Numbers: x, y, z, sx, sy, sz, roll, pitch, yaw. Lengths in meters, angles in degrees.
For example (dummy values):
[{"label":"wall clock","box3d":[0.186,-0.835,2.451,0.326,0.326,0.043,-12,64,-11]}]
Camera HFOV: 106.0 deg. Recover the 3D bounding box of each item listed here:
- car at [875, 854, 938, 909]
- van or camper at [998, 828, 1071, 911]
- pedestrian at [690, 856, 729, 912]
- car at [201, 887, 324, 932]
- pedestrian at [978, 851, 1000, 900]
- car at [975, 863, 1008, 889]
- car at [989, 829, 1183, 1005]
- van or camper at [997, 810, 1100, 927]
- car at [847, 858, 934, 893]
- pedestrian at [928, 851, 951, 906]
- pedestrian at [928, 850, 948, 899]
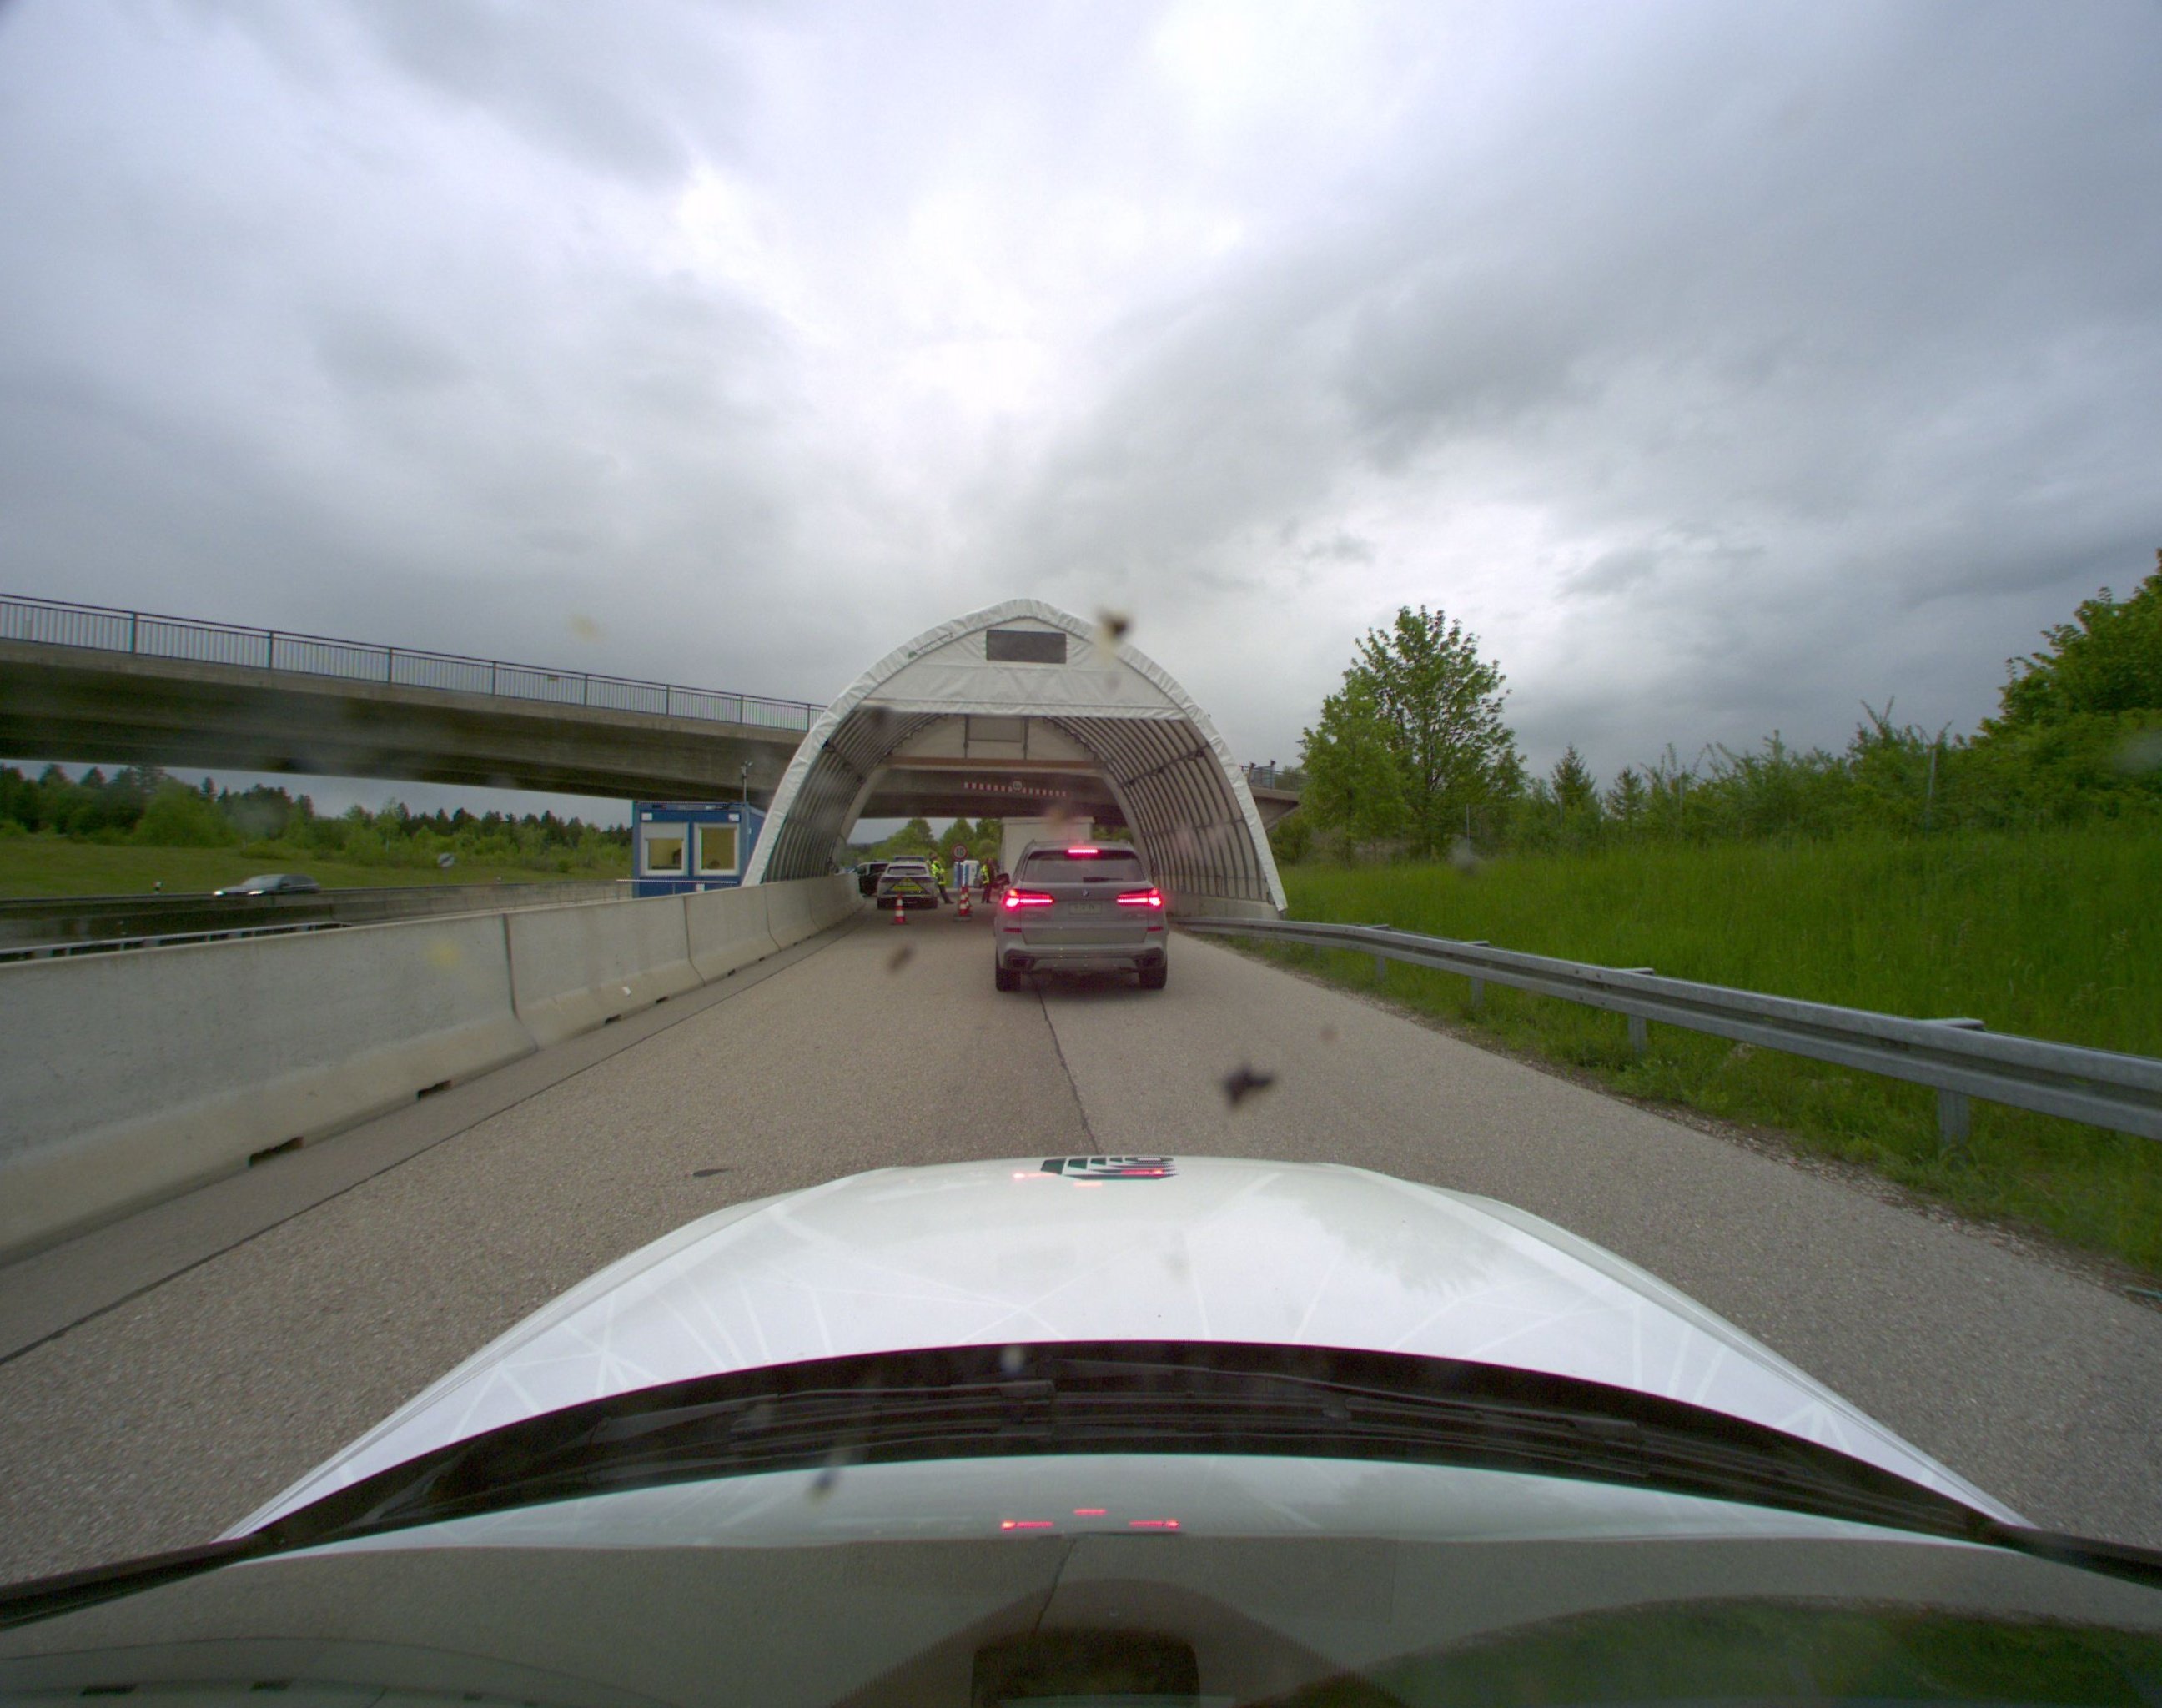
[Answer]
[{"label":"car","box3d":[-5.782,0.879,27.021,1.879,1.647,3.983,-1,-1,-12]},{"label":"van or camper","box3d":[-1.695,0.498,27.660,2.102,2.519,5.537,-1,-1,-7]},{"label":"pedestrian","box3d":[-9.251,0.738,20.297,0.606,1.373,0.629,-2,-1,10]},{"label":"car","box3d":[-40.894,2.706,40.883,1.987,1.955,5.084,-1,-1,-14]},{"label":"pedestrian","box3d":[-3.340,0.778,29.624,0.753,1.722,0.780,-1,-1,-7]},{"label":"car","box3d":[-6.486,1.578,58.699,1.994,1.722,3.882,-1,-1,-11]},{"label":"car","box3d":[-0.158,0.672,10.466,1.992,1.765,3.990,-1,-1,-7]},{"label":"van or camper","box3d":[-1.061,0.360,21.566,2.227,2.552,6.595,-1,-1,-6]},{"label":"car","box3d":[-11.535,1.299,49.487,4.777,2.014,1.845,-1,-1,9]},{"label":"pedestrian","box3d":[-5.086,0.874,29.191,0.750,1.919,0.759,-1,-1,-13]},{"label":"pedestrian","box3d":[-5.288,0.752,30.165,0.607,1.754,0.665,-1,-1,-4]}]
